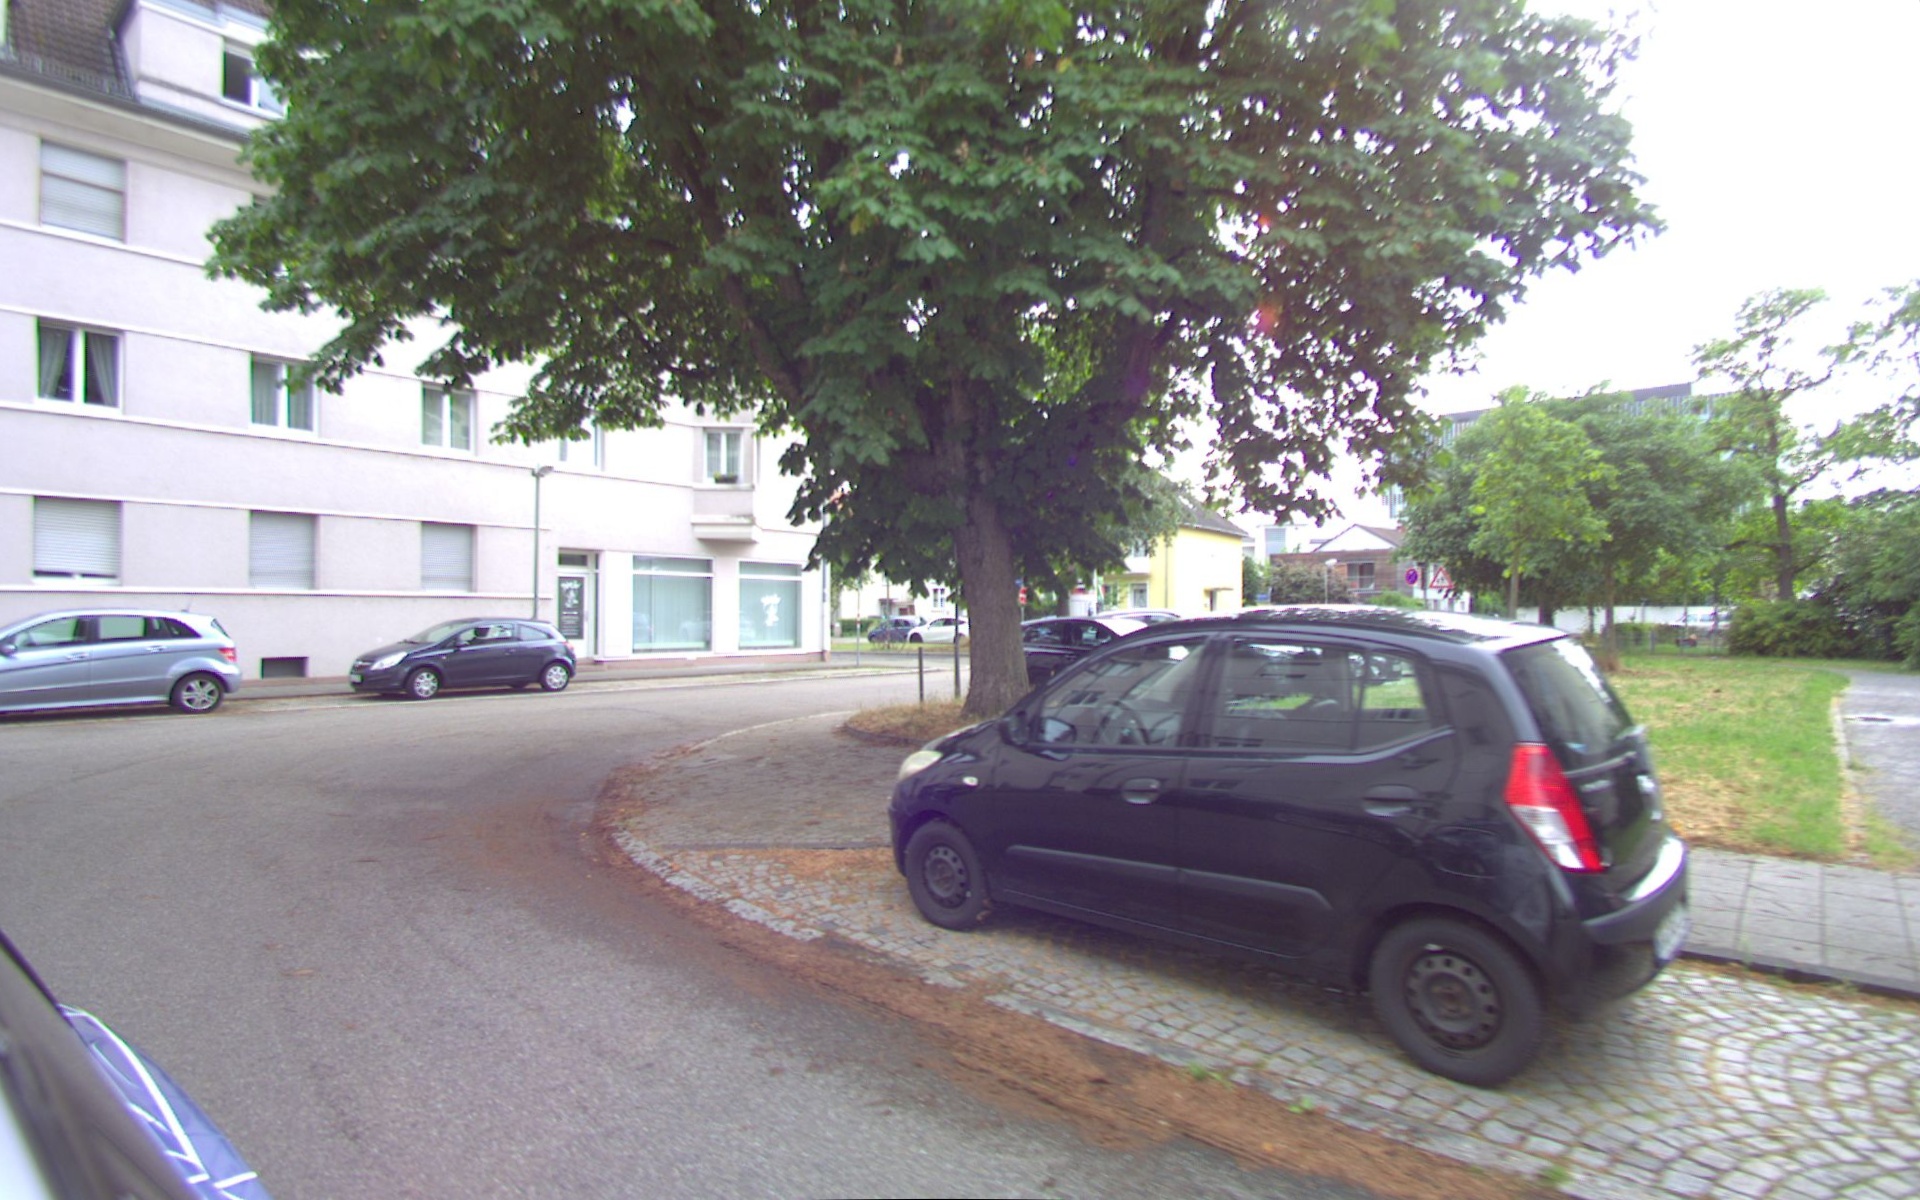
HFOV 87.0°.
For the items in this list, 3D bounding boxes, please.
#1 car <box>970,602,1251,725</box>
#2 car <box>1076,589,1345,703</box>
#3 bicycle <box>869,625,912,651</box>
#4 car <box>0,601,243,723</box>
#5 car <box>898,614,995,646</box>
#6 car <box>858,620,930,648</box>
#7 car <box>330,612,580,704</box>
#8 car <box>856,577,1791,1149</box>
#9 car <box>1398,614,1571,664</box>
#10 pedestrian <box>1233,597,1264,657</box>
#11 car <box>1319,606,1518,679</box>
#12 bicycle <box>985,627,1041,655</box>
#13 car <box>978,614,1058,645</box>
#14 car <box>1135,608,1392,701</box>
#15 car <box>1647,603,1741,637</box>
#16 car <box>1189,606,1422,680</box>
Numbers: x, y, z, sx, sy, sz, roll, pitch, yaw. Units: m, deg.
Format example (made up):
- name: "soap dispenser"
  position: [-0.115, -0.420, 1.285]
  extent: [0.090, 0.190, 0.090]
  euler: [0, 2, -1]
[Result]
- name: "car"
  position: [2.162, 0.867, 15.161]
  extent: [3.843, 1.589, 1.804]
  euler: [-1, -2, 44]
- name: "car"
  position: [4.198, 0.764, 17.383]
  extent: [4.070, 1.710, 1.888]
  euler: [-3, -2, 45]
- name: "bicycle"
  position: [-2.980, 1.602, 43.181]
  extent: [1.882, 1.074, 0.659]
  euler: [-1, -1, 38]
- name: "car"
  position: [-13.146, 0.857, 14.753]
  extent: [1.763, 1.640, 4.140]
  euler: [-1, -1, 43]
- name: "car"
  position: [-0.735, 1.532, 51.983]
  extent: [4.874, 1.578, 1.880]
  euler: [-1, -1, 36]
- name: "car"
  position: [-3.985, 2.031, 60.991]
  extent: [4.200, 1.578, 1.685]
  euler: [-1, 0, 35]
- name: "car"
  position: [-9.453, 1.013, 19.163]
  extent: [1.762, 1.501, 3.883]
  euler: [-1, -1, 41]
- name: "car"
  position: [1.299, 0.720, 4.505]
  extent: [3.592, 1.505, 1.508]
  euler: [-1, 1, 44]
- name: "car"
  position: [16.246, 1.221, 31.469]
  extent: [4.551, 1.465, 1.659]
  euler: [-2, -2, 37]
- name: "pedestrian"
  position: [8.980, 0.836, 31.564]
  extent: [0.870, 1.850, 1.213]
  euler: [0, -1, 15]
- name: "car"
  position: [11.520, 1.104, 25.572]
  extent: [4.146, 1.572, 1.859]
  euler: [-5, -3, 41]
- name: "bicycle"
  position: [2.006, 1.563, 38.674]
  extent: [2.176, 0.993, 0.506]
  euler: [-2, 1, 34]
- name: "car"
  position: [3.181, 1.605, 55.634]
  extent: [4.207, 1.578, 1.682]
  euler: [-1, 0, 40]
- name: "car"
  position: [5.700, 0.998, 19.395]
  extent: [4.359, 1.578, 1.814]
  euler: [-3, -2, 45]
- name: "car"
  position: [44.135, 1.209, 60.894]
  extent: [4.487, 1.873, 1.975]
  euler: [-1, 1, 37]
- name: "car"
  position: [7.568, 0.936, 22.524]
  extent: [4.562, 1.475, 1.814]
  euler: [-3, -2, 45]
